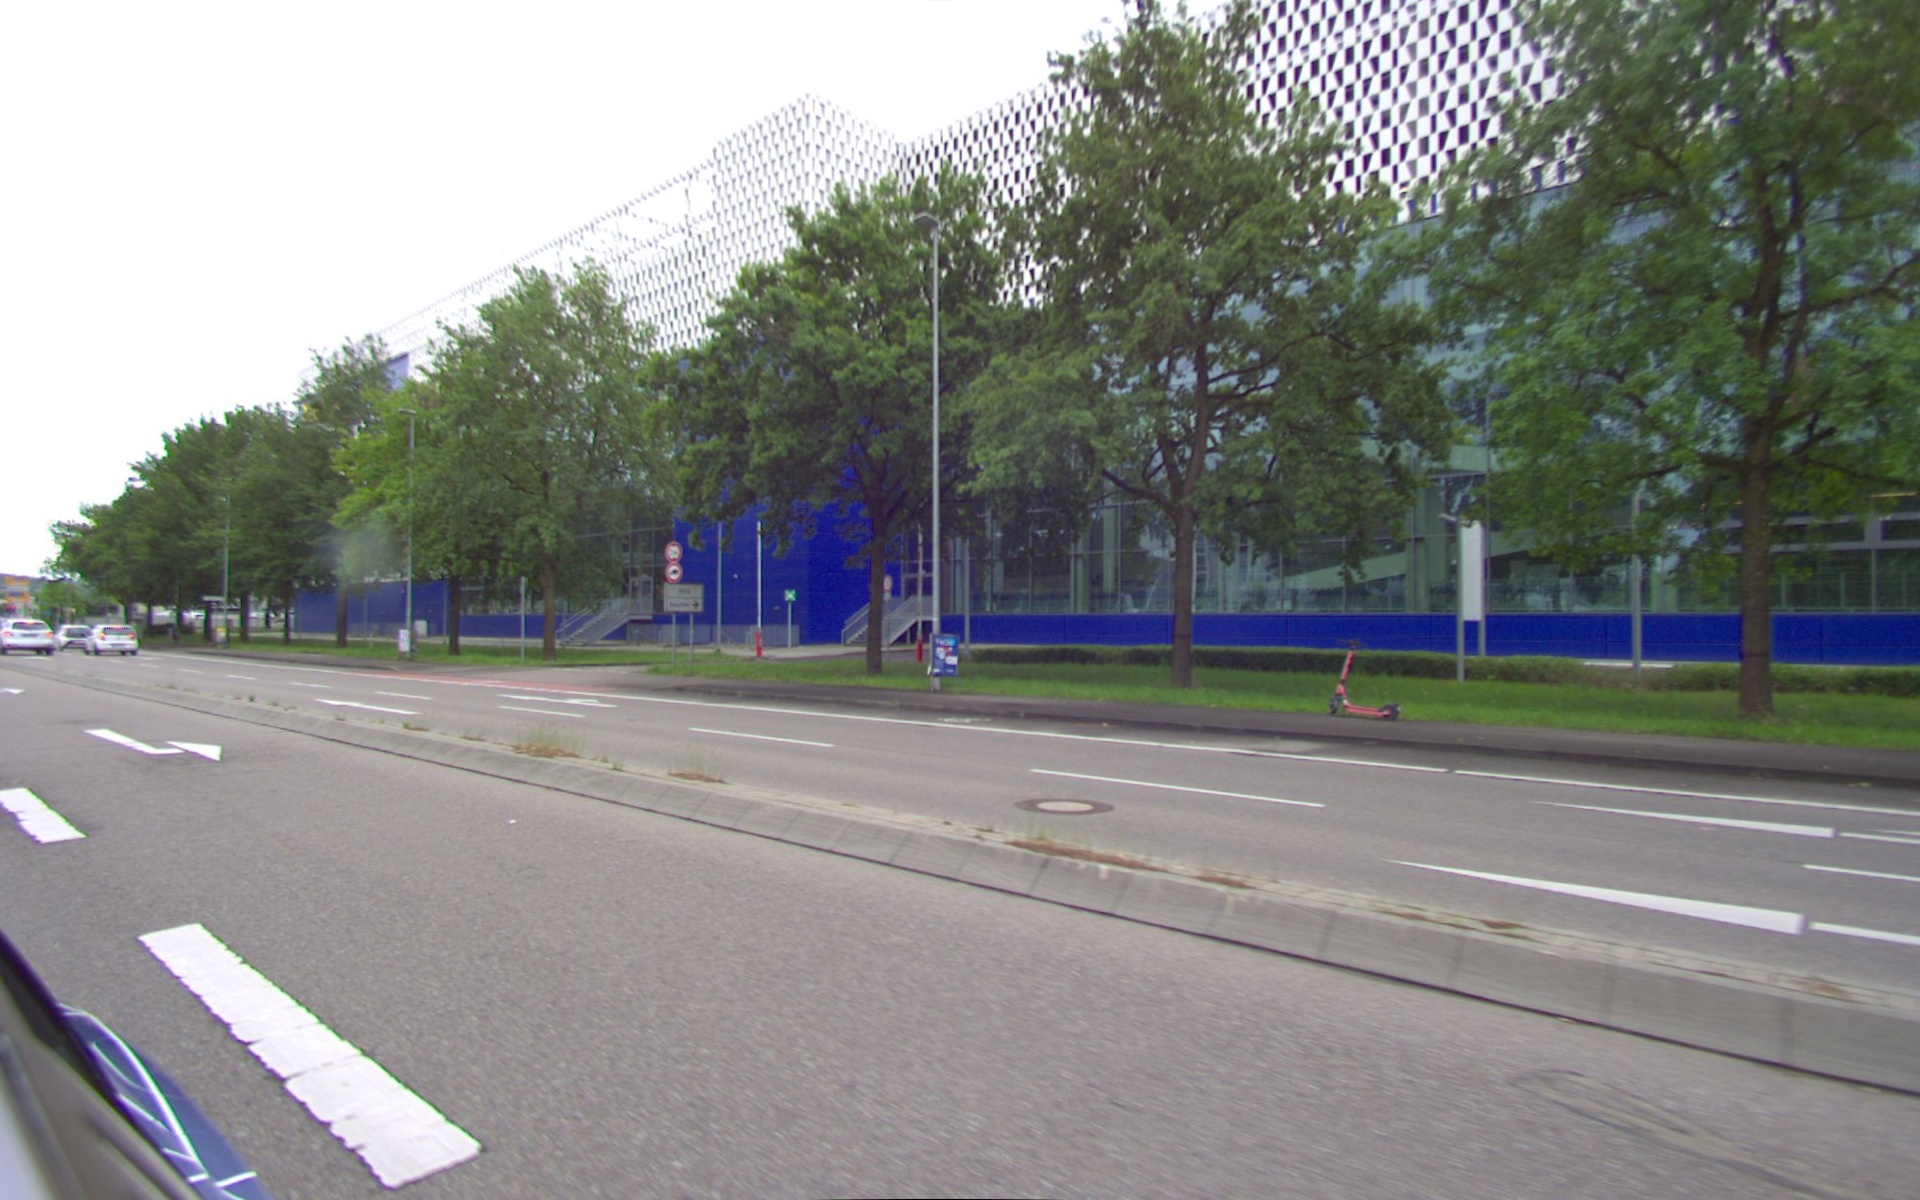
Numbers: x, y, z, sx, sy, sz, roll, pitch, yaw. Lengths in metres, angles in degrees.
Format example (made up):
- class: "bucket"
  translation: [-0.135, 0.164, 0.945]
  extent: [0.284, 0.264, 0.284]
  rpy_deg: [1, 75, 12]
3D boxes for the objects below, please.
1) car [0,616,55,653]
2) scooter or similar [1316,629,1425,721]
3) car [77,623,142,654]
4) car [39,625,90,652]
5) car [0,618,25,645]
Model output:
- class: "car"
  translation: [-43.639, 1.620, 46.983]
  extent: [4.510, 1.599, 1.799]
  rpy_deg: [-2, -4, 41]
- class: "scooter or similar"
  translation: [6.228, 1.114, 15.428]
  extent: [0.441, 1.331, 1.508]
  rpy_deg: [1, -2, -39]
- class: "car"
  translation: [-41.586, 1.887, 49.474]
  extent: [3.646, 1.439, 1.660]
  rpy_deg: [-2, -4, 38]
- class: "car"
  translation: [-49.896, 2.128, 56.359]
  extent: [3.609, 1.434, 1.607]
  rpy_deg: [-2, -4, 41]
- class: "car"
  translation: [-69.902, 2.308, 73.904]
  extent: [4.905, 1.939, 1.749]
  rpy_deg: [-2, -3, 40]
